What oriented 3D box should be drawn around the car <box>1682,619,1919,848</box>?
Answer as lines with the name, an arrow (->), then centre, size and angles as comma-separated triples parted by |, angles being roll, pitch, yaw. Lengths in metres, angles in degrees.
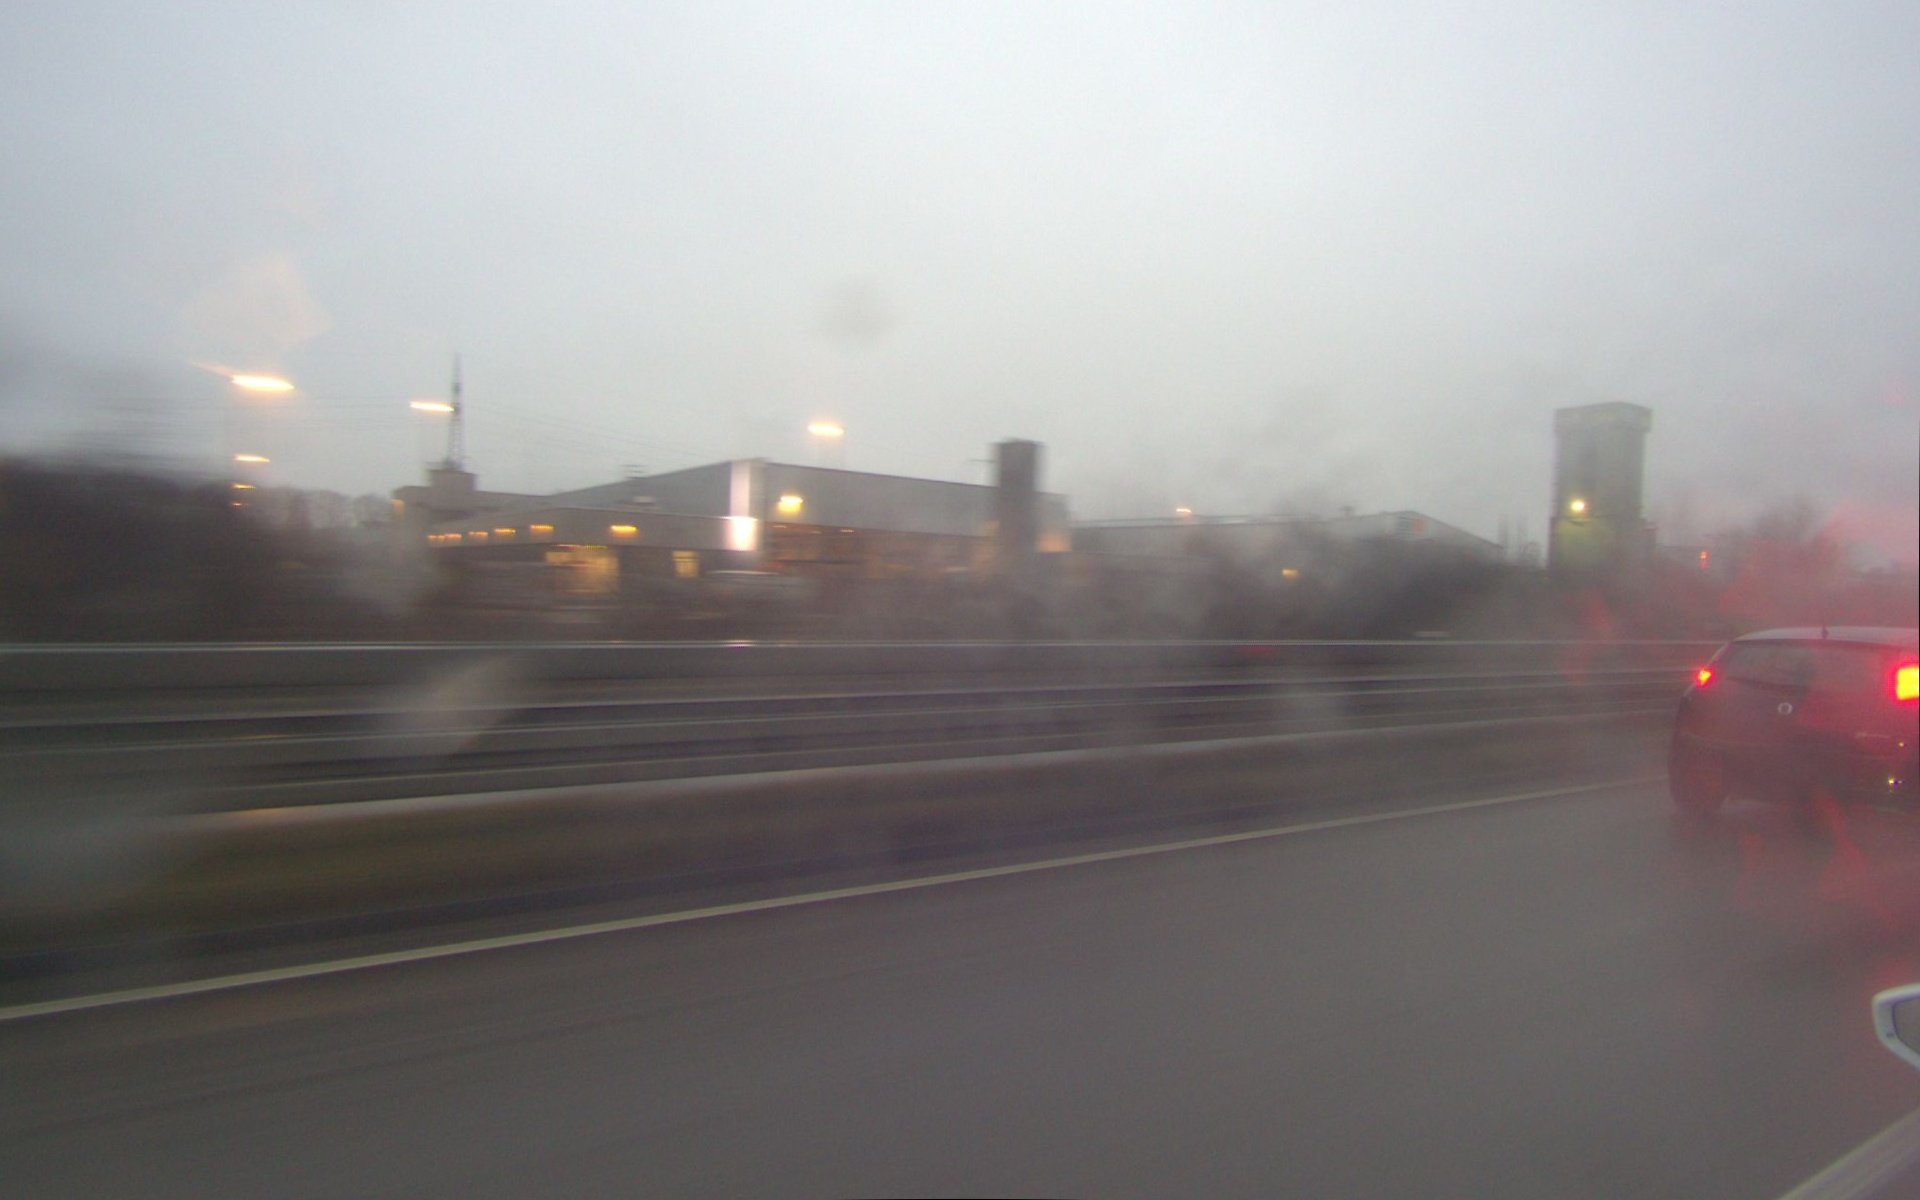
car -> 7.616, 0.932, 7.967 | 3.955, 1.410, 1.617 | 2, 1, -31
